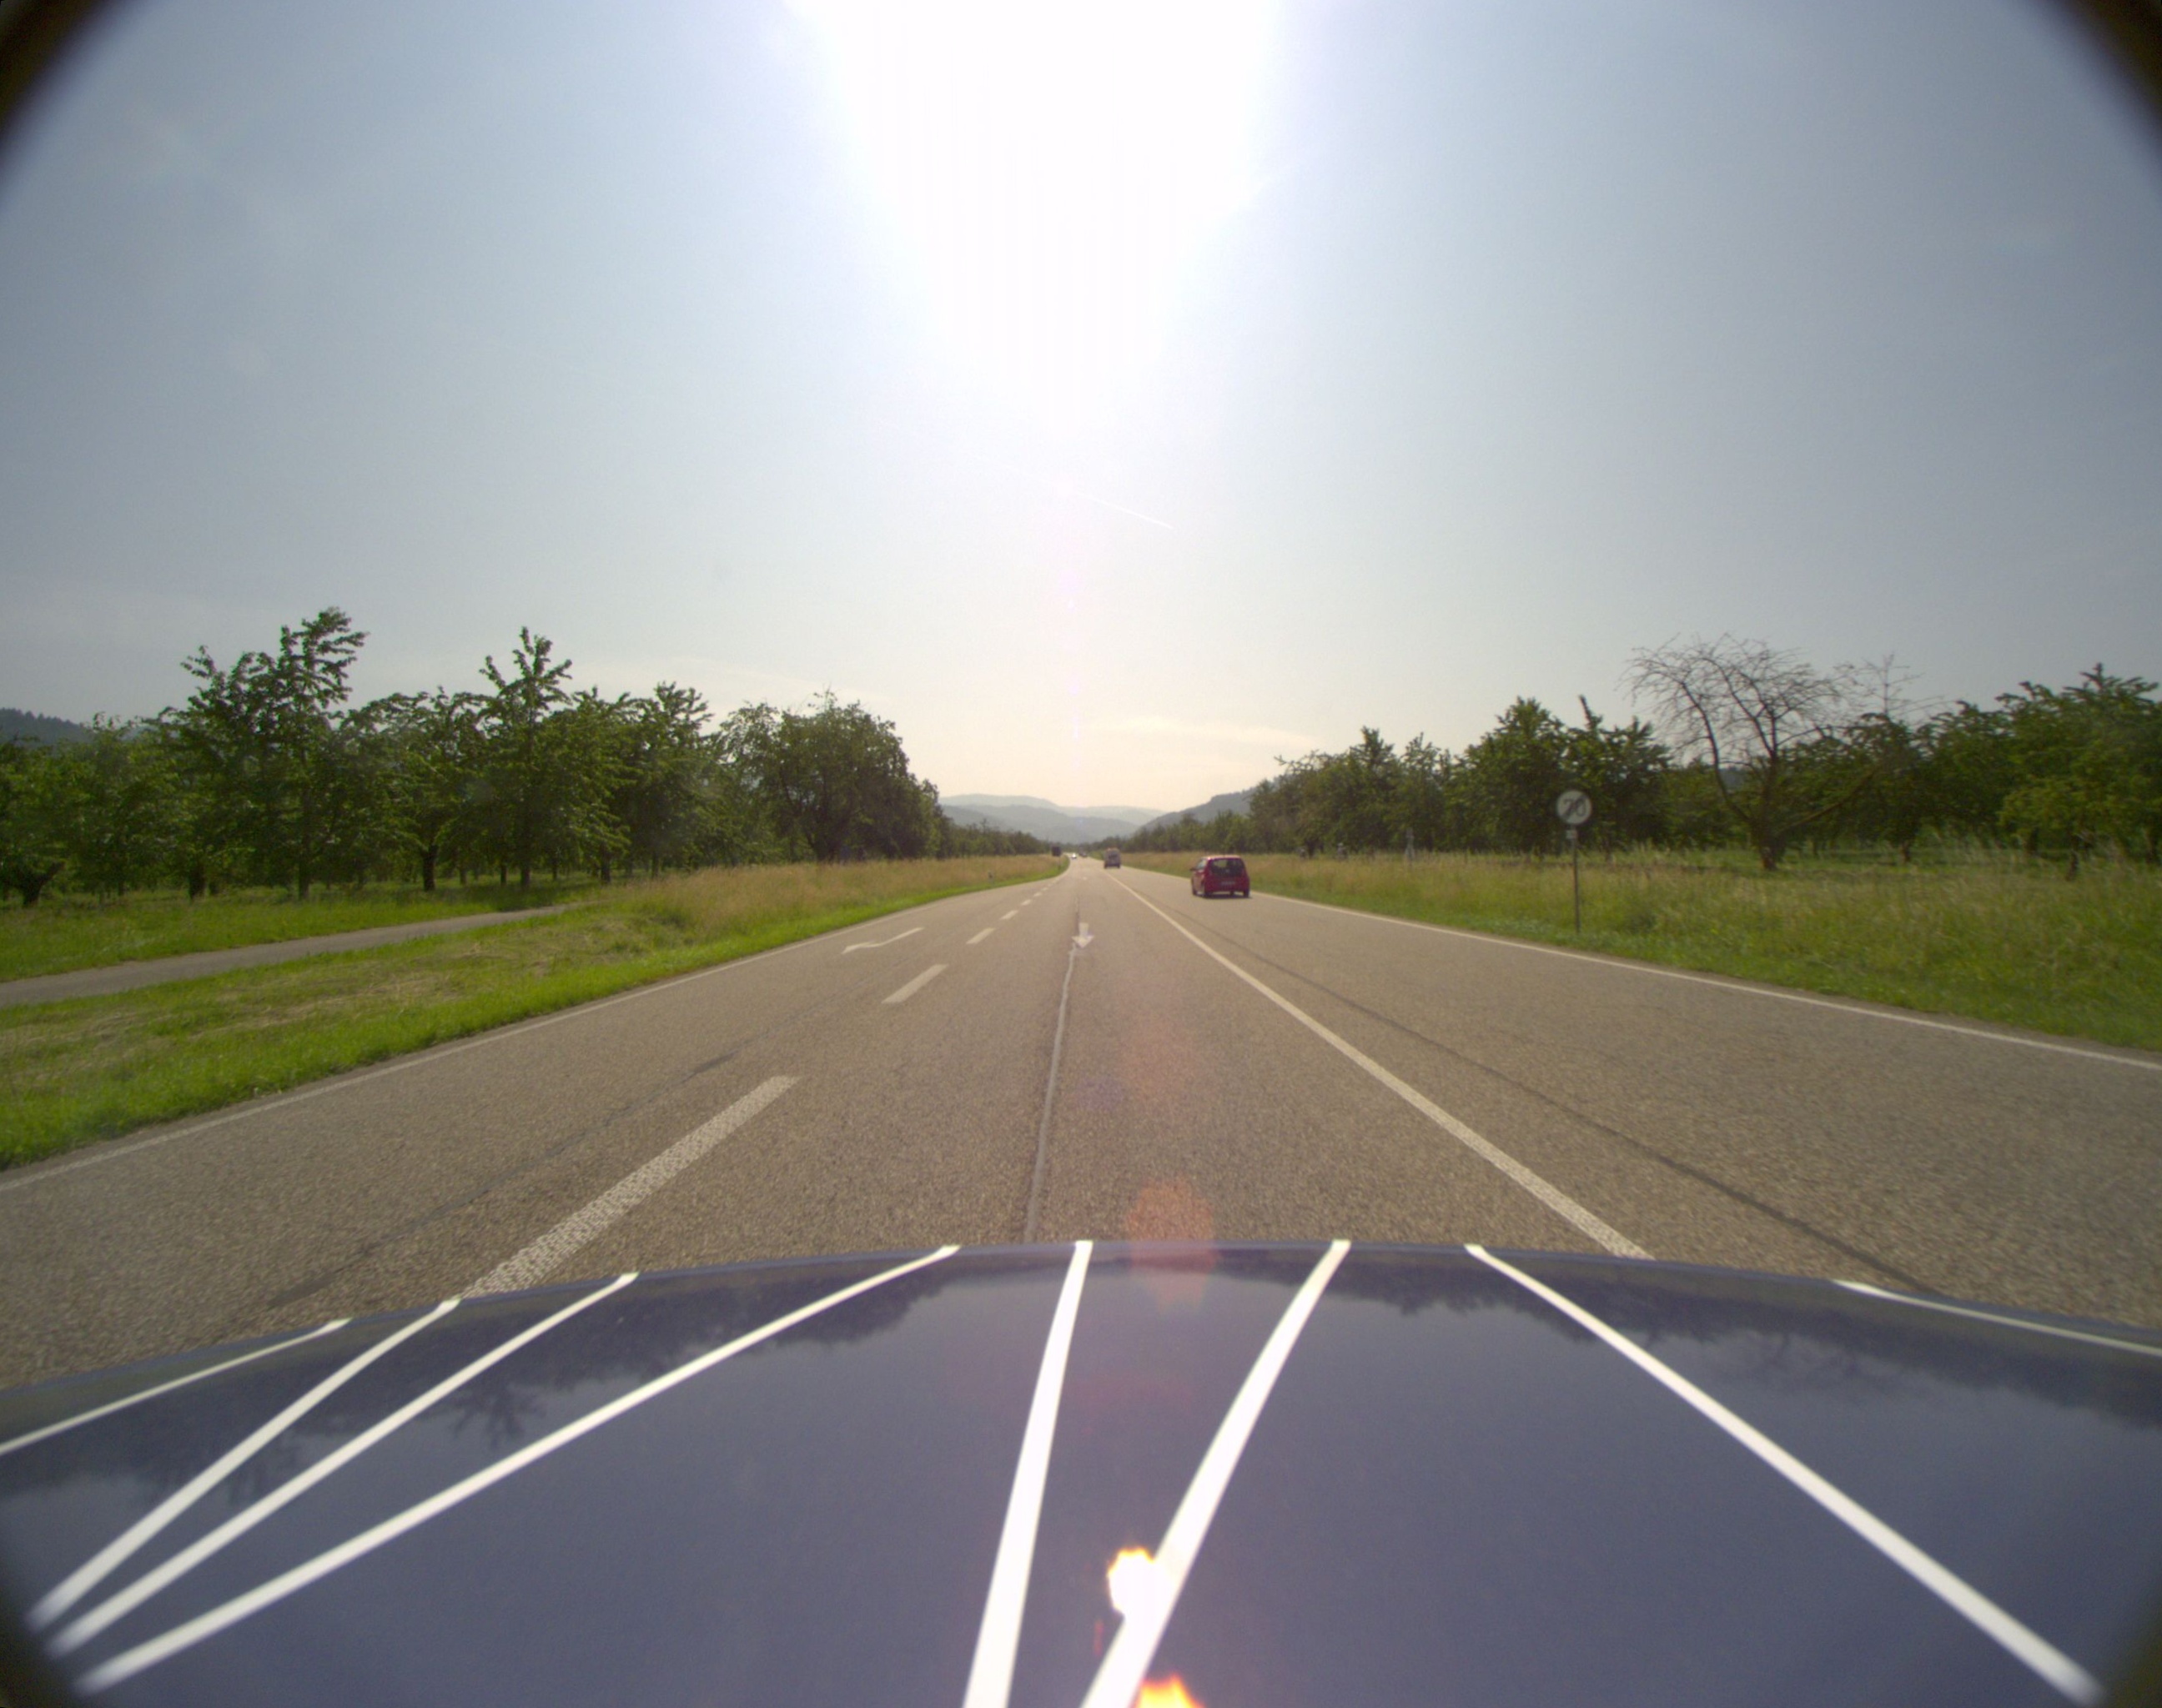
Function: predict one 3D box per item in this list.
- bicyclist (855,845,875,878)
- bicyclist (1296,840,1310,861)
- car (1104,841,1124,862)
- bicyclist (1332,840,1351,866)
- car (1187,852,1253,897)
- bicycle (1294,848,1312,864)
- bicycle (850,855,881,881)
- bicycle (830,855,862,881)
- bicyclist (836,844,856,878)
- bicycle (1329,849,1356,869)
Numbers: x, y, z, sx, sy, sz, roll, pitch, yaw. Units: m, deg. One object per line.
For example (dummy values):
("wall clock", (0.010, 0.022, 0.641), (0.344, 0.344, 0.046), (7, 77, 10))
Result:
("bicyclist", (-12.039, 0.416, 42.421), (0.751, 1.856, 0.870), (0, 1, 10))
("bicyclist", (15.023, -0.252, 51.416), (0.643, 1.406, 0.863), (-2, 2, 1))
("car", (4.382, -0.314, 102.145), (2.166, 2.653, 6.141), (-2, 1, -1))
("bicyclist", (14.610, -0.062, 42.560), (0.742, 1.446, 0.863), (-2, 2, 1))
("car", (5.009, 0.704, 27.797), (1.629, 1.448, 3.621), (-2, 0, -1))
("bicycle", (15.043, 0.125, 51.435), (0.650, 0.984, 1.955), (-2, 1, 1))
("bicycle", (-12.032, 0.748, 42.440), (0.751, 1.410, 2.223), (0, 0, 10))
("bicycle", (-13.107, 0.779, 42.475), (0.751, 1.410, 2.223), (0, 0, 10))
("bicyclist", (-13.117, 0.394, 42.465), (0.751, 1.918, 0.828), (0, 1, 10))
("bicycle", (14.622, 0.265, 42.569), (0.742, 0.984, 2.224), (-2, 1, 1))
